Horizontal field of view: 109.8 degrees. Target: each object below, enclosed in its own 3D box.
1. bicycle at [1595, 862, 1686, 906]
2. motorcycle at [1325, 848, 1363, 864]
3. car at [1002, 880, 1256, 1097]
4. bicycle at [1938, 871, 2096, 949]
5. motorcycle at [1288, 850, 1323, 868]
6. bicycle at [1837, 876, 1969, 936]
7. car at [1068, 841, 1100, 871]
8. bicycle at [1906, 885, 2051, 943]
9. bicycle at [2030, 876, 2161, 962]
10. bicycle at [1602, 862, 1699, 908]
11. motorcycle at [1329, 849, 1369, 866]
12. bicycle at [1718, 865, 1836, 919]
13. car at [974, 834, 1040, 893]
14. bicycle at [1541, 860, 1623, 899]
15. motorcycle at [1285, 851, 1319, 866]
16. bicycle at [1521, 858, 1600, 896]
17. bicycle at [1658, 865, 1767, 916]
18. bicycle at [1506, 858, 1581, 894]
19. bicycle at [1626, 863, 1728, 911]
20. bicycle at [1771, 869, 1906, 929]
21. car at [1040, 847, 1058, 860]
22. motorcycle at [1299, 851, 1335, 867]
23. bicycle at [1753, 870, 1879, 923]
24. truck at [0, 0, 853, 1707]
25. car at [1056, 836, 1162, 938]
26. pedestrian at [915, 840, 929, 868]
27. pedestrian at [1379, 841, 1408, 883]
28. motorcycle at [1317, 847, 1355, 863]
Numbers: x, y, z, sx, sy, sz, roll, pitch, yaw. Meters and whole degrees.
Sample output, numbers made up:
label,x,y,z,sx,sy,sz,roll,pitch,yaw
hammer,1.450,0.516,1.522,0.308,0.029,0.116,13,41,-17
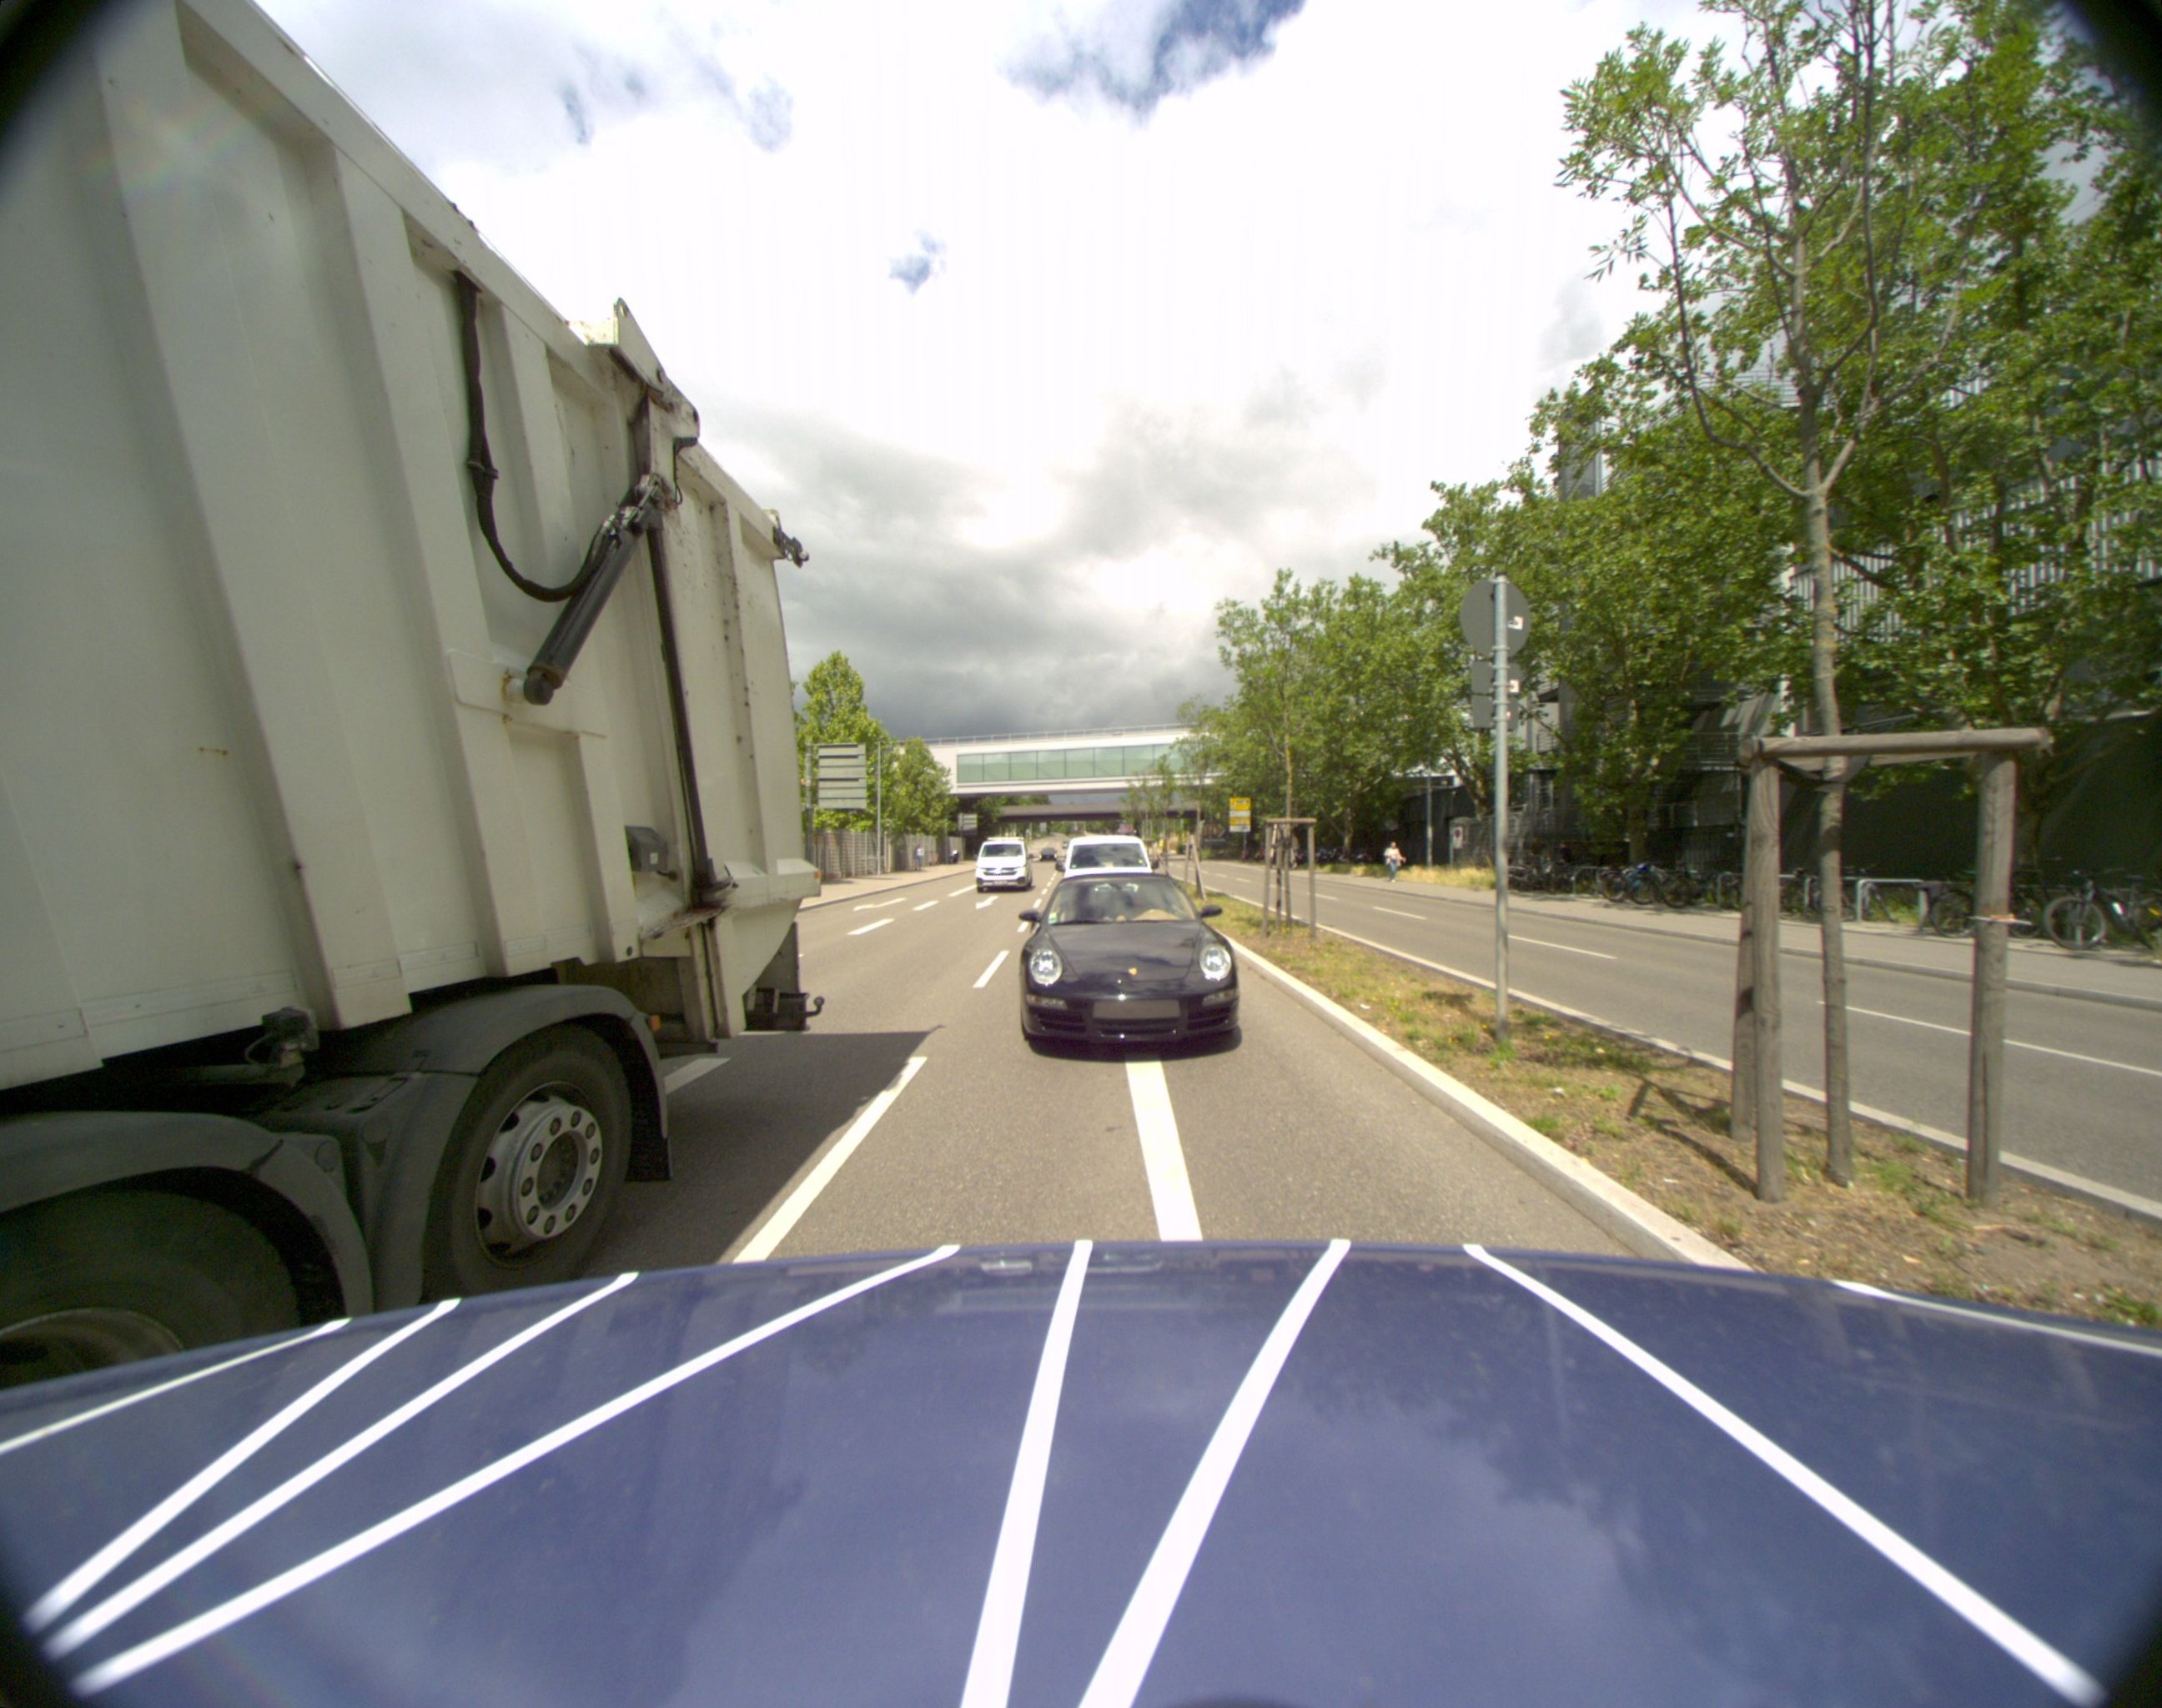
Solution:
label,x,y,z,sx,sy,sz,roll,pitch,yaw
bicycle,15.115,0.806,20.551,2.129,1.104,0.382,-1,1,3
motorcycle,15.873,0.133,45.859,2.133,0.880,0.534,-1,1,1
car,0.355,0.991,7.111,1.710,1.281,3.806,-1,1,1
bicycle,14.393,0.858,11.703,1.993,1.122,0.382,-1,1,-1
motorcycle,14.949,0.335,50.561,2.133,1.131,0.534,-1,1,1
bicycle,14.794,0.929,13.685,1.993,0.992,0.382,-1,1,-1
car,0.214,0.102,49.264,1.862,1.800,4.357,-3,1,1
bicycle,14.997,0.994,12.706,1.993,0.886,0.382,-1,1,-1
bicycle,14.416,0.893,10.565,1.993,1.122,0.382,-1,1,-1
bicycle,14.553,0.795,19.436,2.129,1.104,0.382,-1,1,3
motorcycle,15.469,0.192,43.910,2.133,0.893,0.534,-1,1,1
bicycle,15.086,0.820,16.485,2.129,1.104,0.382,-1,1,3
car,-2.799,0.334,29.730,1.925,2.082,4.656,-1,0,2
bicycle,14.874,0.762,22.562,2.129,1.104,0.382,-1,1,3
motorcycle,15.107,0.276,51.975,2.133,0.963,0.534,-1,1,1
bicycle,14.804,0.698,23.484,2.129,1.104,0.382,-1,1,3
bicycle,14.546,0.829,17.525,2.129,1.104,0.382,-1,1,3
bicycle,14.802,0.699,24.326,2.129,1.104,0.382,-1,1,3
bicycle,14.526,0.810,18.549,2.129,1.104,0.382,-1,1,3
bicycle,14.620,0.864,14.686,2.129,1.090,0.382,-1,1,3
car,-3.598,-0.071,86.244,1.862,1.369,4.356,-1,1,-1
motorcycle,15.340,0.321,49.359,2.133,0.963,0.534,-1,1,1
bicycle,15.054,0.870,15.580,2.129,1.025,0.382,-1,1,3
truck,-3.015,-0.293,0.548,2.495,3.891,10.171,-2,1,0
car,0.534,0.572,16.091,1.862,1.800,4.906,-1,1,1
pedestrian,-11.078,0.018,52.971,0.739,1.901,0.658,-2,2,-4
pedestrian,12.875,0.330,31.321,0.900,1.711,0.672,-1,1,1
motorcycle,15.839,0.051,47.218,2.133,0.963,0.534,-1,1,1
